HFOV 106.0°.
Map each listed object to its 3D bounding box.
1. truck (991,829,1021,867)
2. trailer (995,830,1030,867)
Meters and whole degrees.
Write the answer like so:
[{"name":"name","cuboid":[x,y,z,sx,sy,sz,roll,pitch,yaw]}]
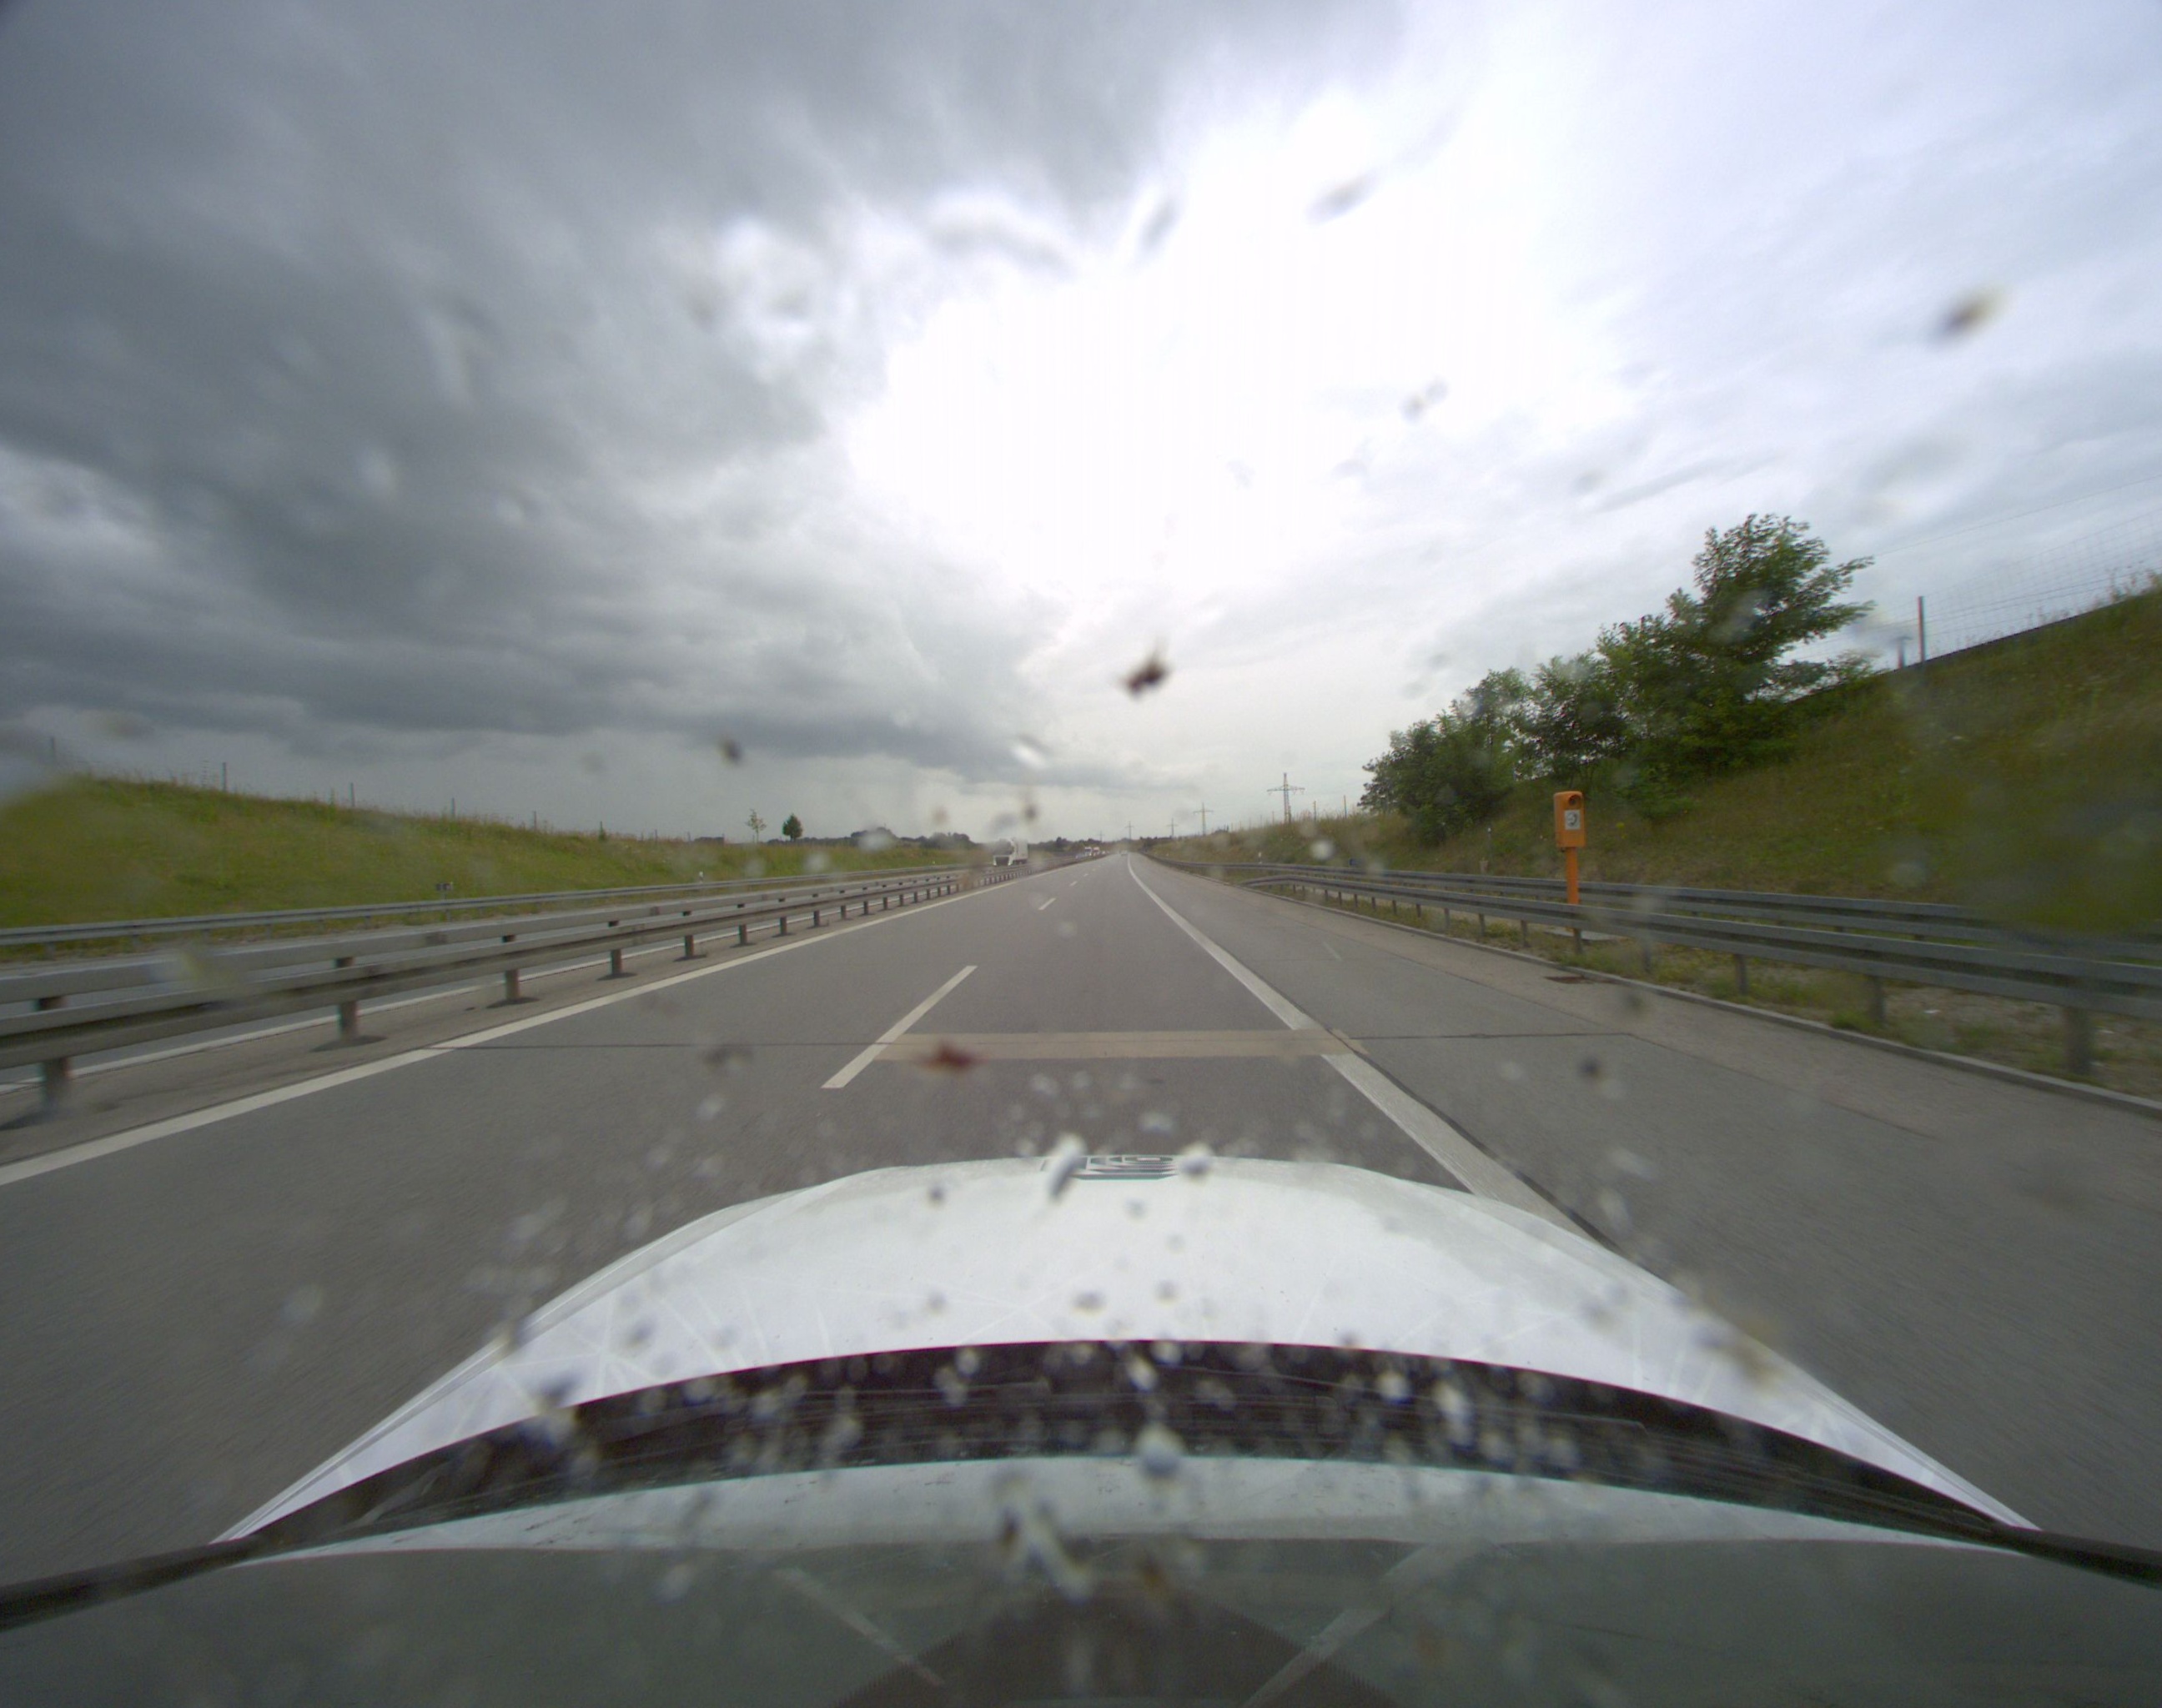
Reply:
[{"name":"truck","cuboid":[-9.564,-0.738,104.803,2.784,4.647,6.924,-2,0,2]},{"name":"trailer","cuboid":[-9.261,-0.754,111.633,2.784,4.650,14.856,-2,0,3]}]
